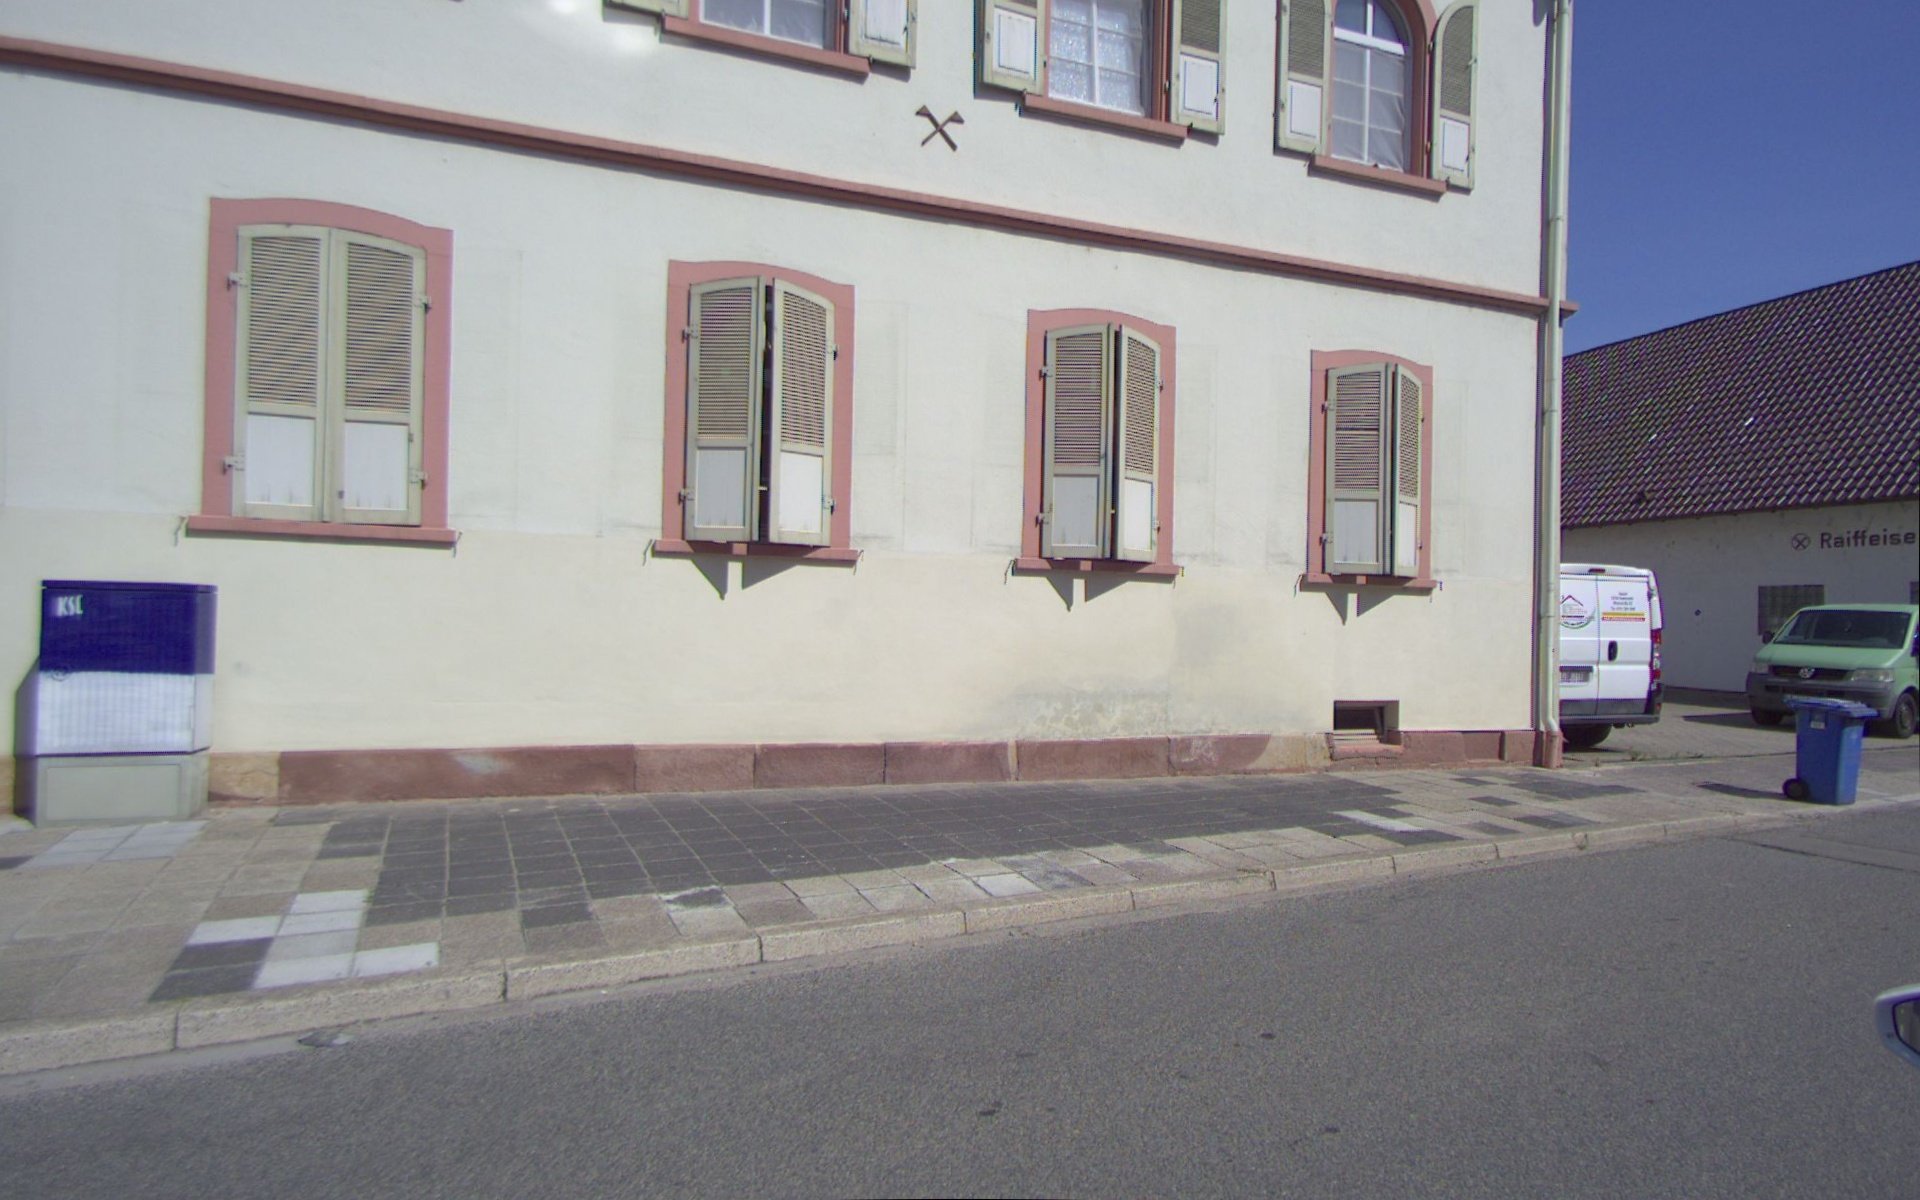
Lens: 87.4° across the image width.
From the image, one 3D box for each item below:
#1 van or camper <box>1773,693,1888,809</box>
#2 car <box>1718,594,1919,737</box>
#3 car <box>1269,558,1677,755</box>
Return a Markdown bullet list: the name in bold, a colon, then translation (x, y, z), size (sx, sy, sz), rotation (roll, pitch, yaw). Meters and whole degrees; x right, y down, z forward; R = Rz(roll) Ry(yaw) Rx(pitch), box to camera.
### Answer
- **van or camper**: translation (7.987, 1.365, 9.224), size (0.591, 0.964, 0.588), rotation (2, -1, -22)
- **car**: translation (14.449, 0.990, 16.005), size (4.609, 1.990, 1.986), rotation (2, -1, -27)
- **car**: translation (6.785, 0.667, 14.137), size (2.088, 2.226, 5.173), rotation (1, -1, -17)
